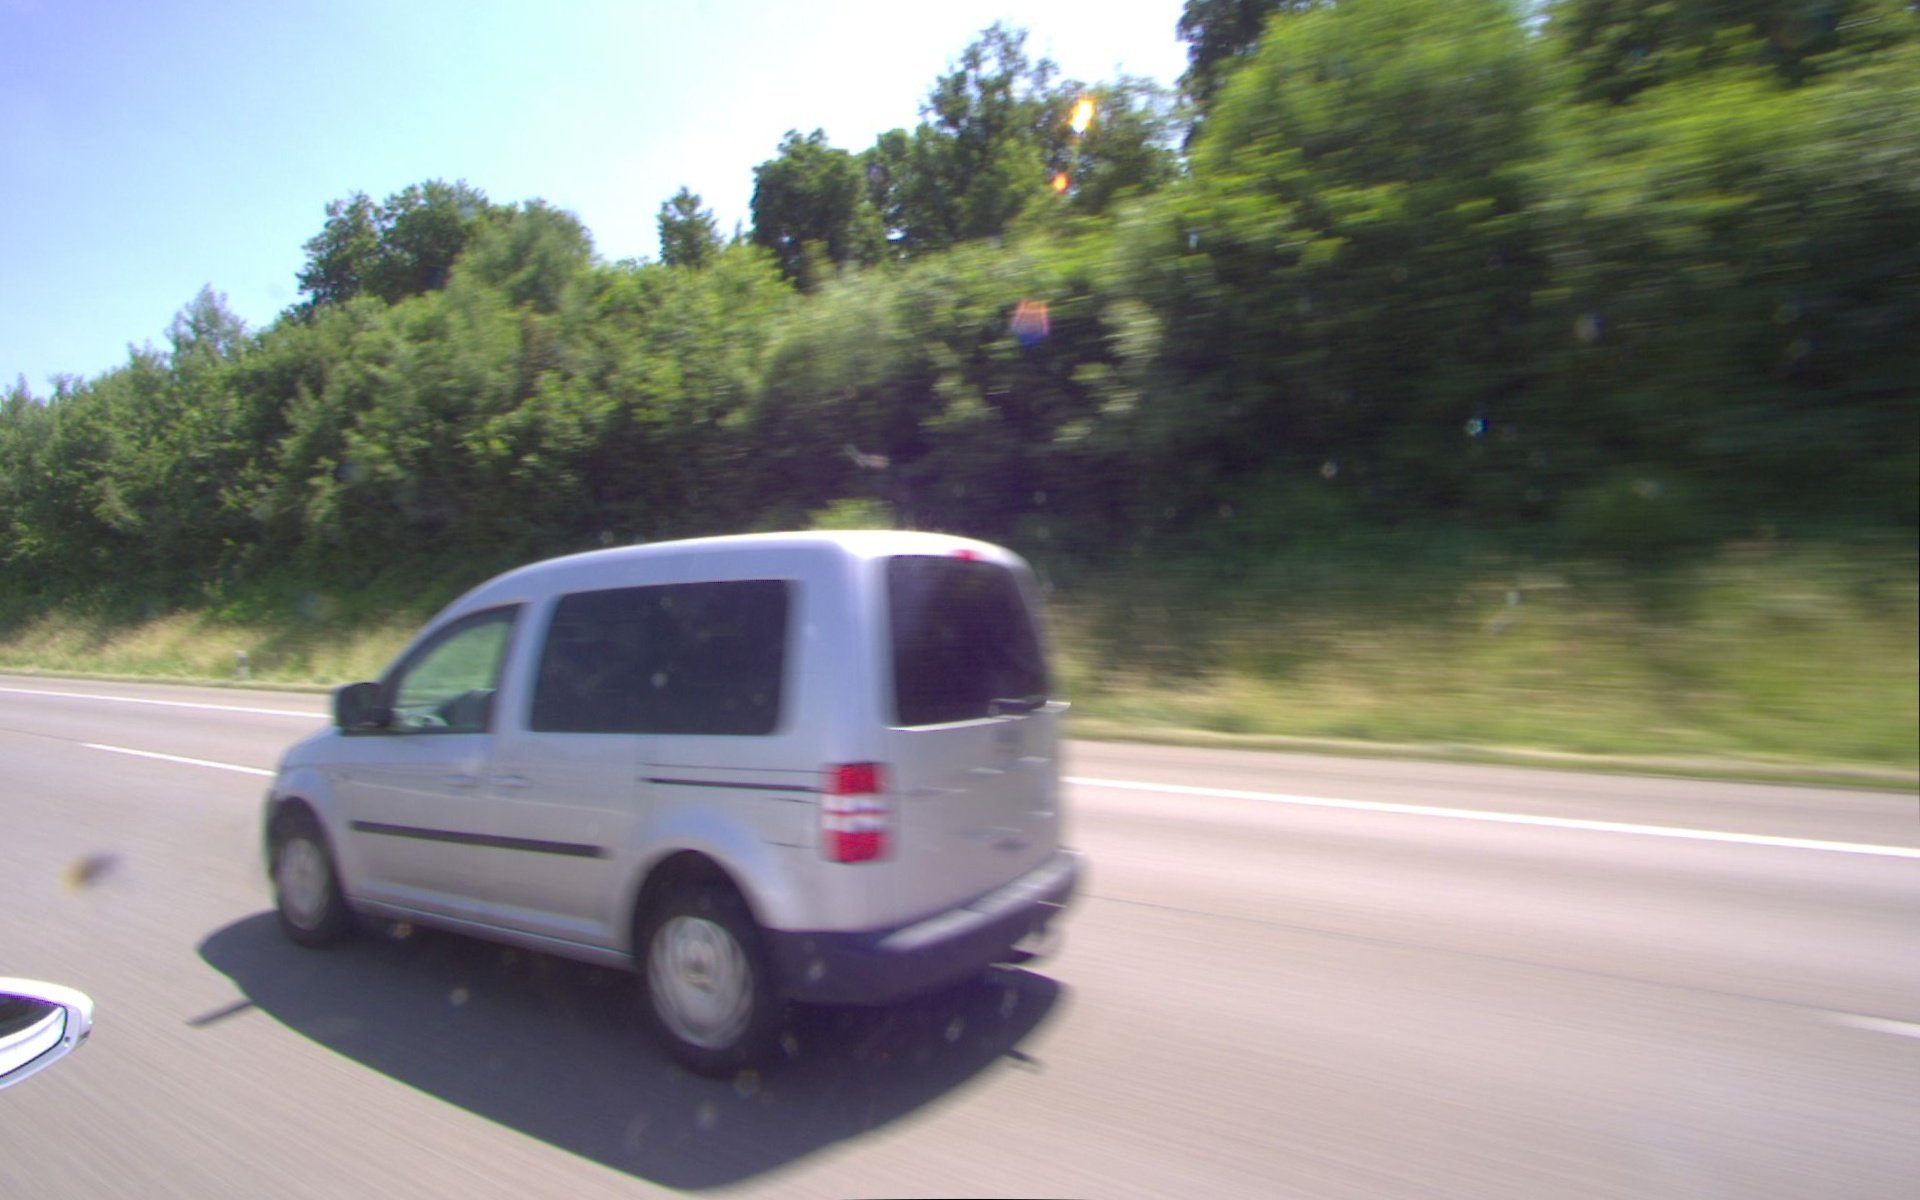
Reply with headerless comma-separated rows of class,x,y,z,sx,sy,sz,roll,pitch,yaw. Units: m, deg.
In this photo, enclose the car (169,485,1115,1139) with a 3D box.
car,-1.784,0.658,4.855,4.732,1.853,1.743,-1,-2,32
